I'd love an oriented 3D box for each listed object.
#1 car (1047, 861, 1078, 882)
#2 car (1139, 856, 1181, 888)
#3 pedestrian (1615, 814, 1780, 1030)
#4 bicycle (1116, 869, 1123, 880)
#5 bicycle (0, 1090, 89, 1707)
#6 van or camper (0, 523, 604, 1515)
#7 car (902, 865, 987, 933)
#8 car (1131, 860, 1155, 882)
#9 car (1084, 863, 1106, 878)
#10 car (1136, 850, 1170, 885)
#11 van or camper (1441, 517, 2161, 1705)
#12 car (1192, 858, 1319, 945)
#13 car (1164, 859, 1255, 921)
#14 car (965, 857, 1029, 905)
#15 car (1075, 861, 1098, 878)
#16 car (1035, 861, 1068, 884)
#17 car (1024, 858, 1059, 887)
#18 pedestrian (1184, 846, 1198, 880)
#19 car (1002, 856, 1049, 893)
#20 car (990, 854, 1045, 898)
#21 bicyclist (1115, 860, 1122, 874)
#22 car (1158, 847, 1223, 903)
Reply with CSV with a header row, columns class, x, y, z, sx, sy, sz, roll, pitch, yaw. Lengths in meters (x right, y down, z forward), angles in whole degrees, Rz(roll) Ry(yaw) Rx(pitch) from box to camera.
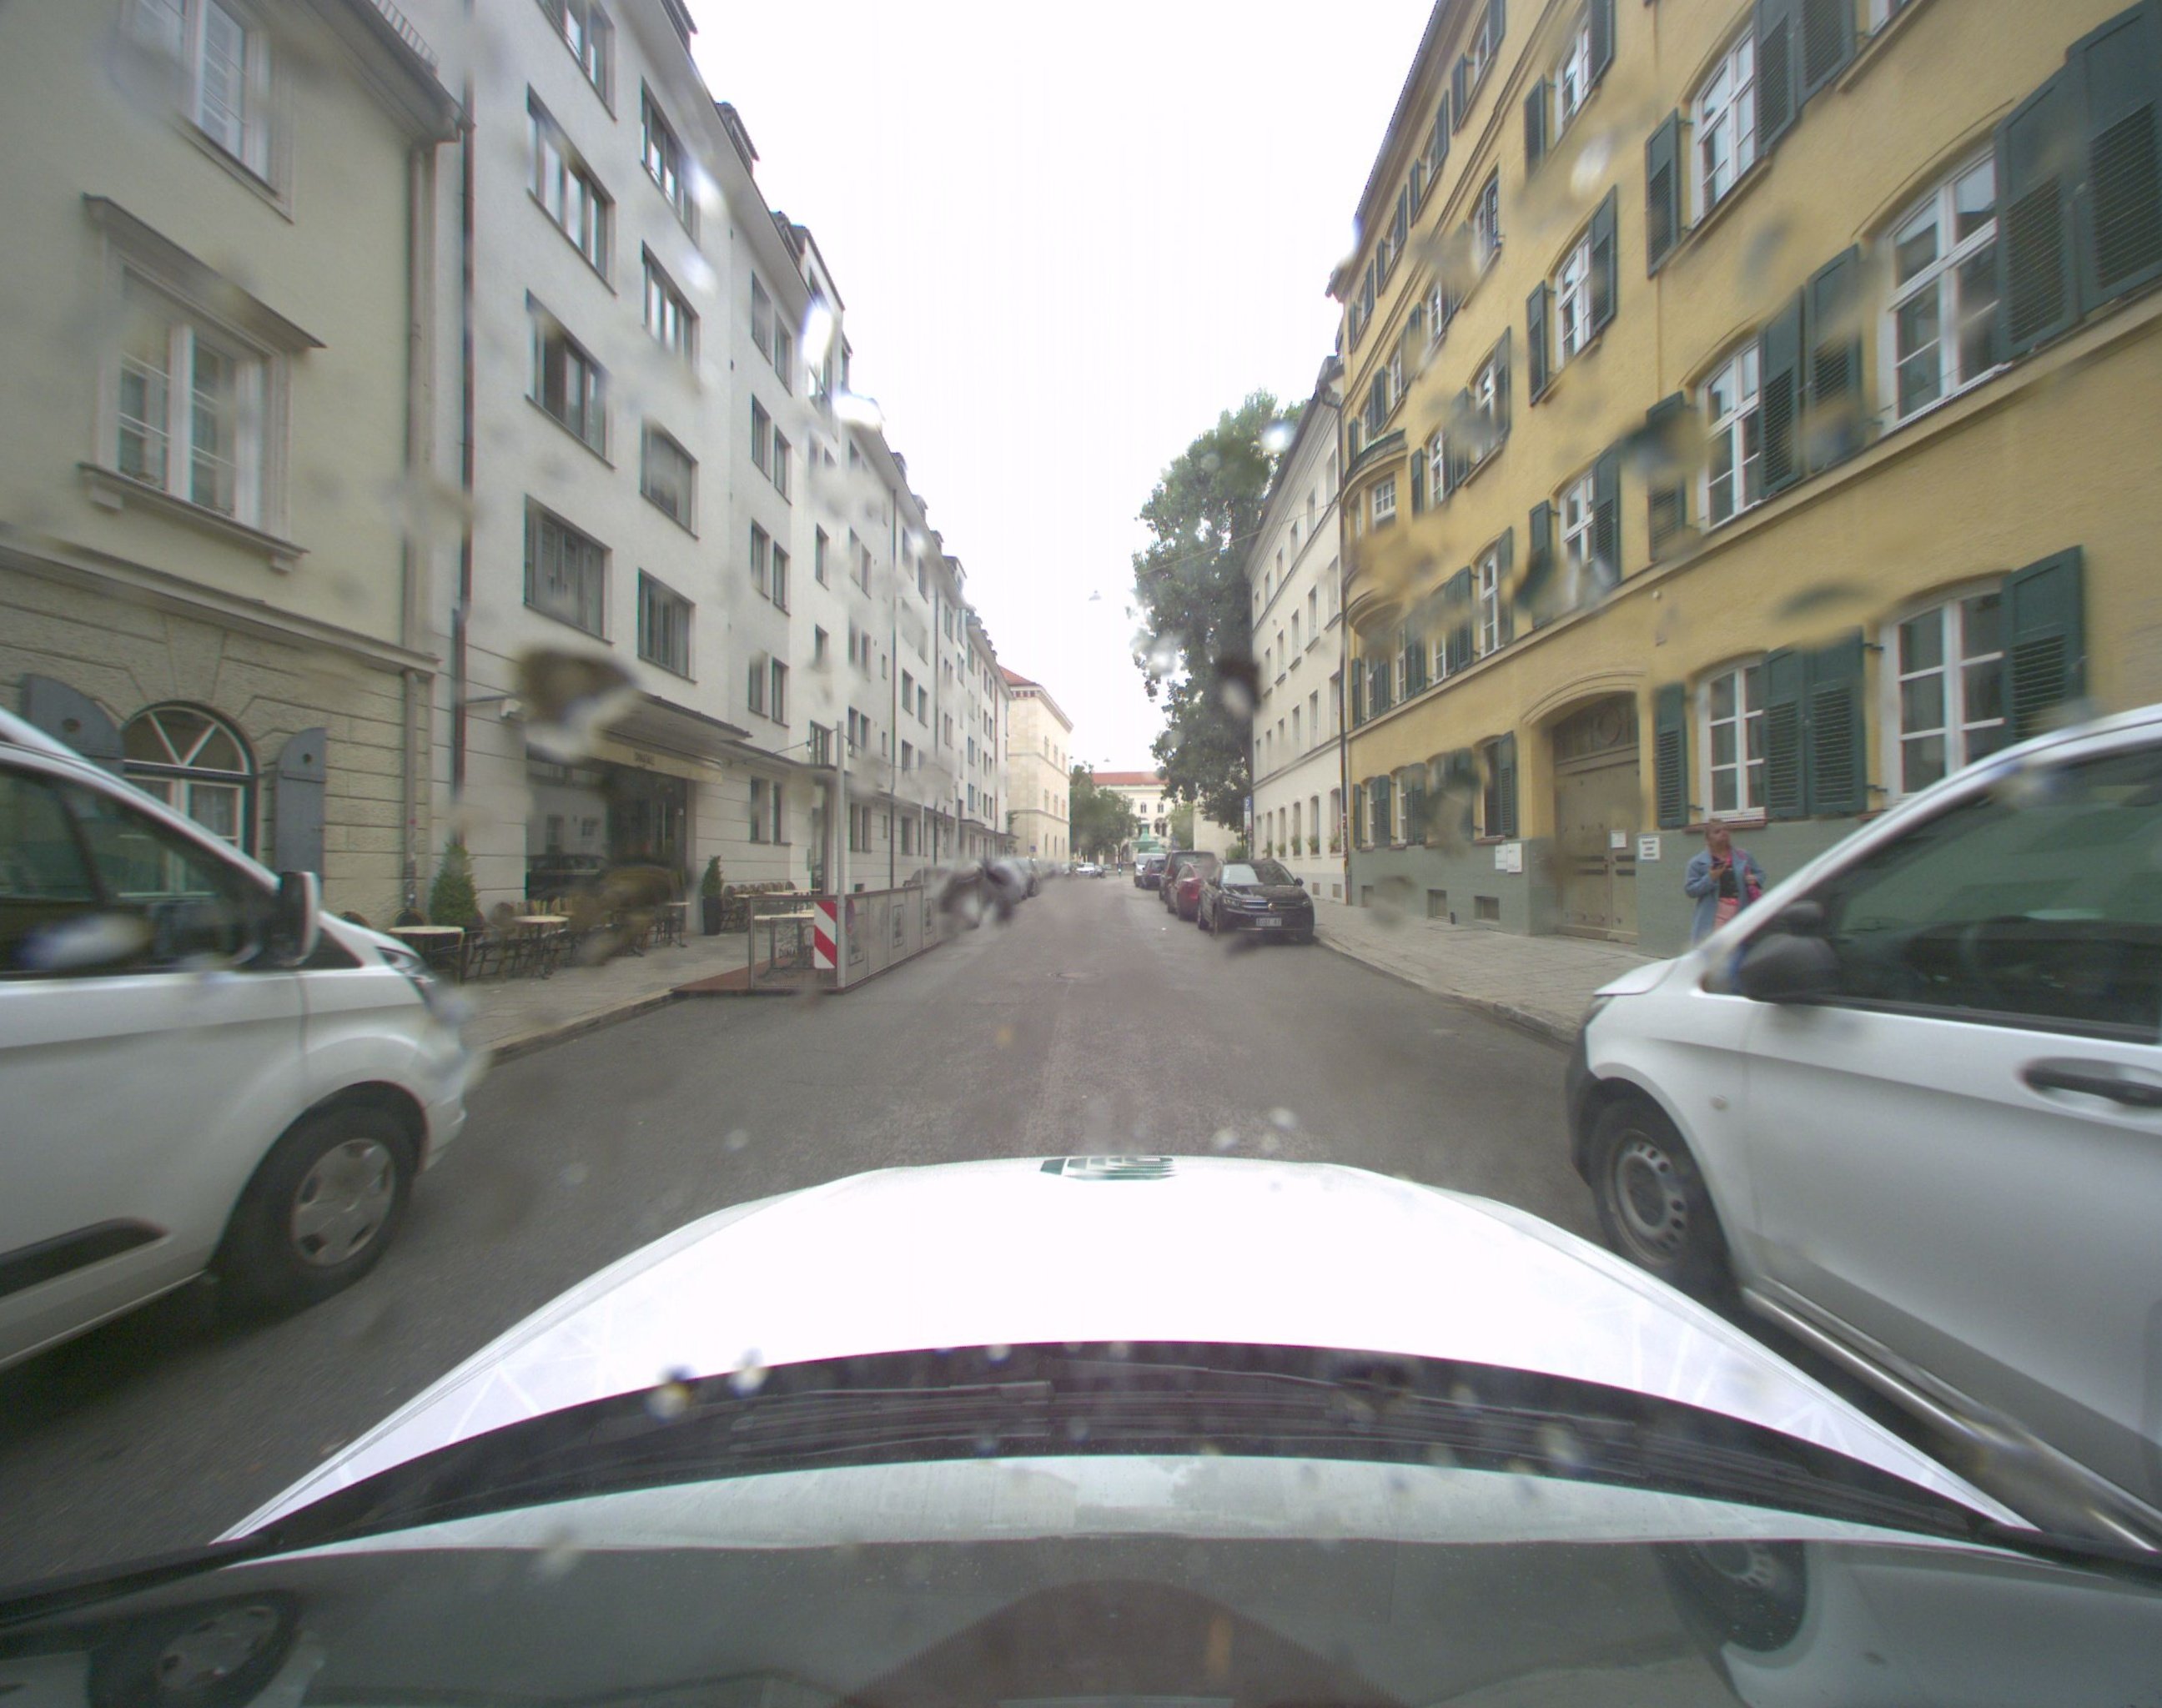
class,x,y,z,sx,sy,sz,roll,pitch,yaw
car,-1.365,1.316,62.489,1.741,1.453,4.023,-2,0,7
car,4.037,0.918,42.326,1.802,1.600,4.214,0,-1,0
pedestrian,5.086,0.530,6.780,0.595,1.639,0.896,-4,0,-1
bicycle,4.106,2.174,87.188,0.646,1.197,1.952,-1,-1,4
bicycle,-1.888,0.933,0.234,0.730,1.151,1.999,0,0,1
van or camper,-3.537,0.411,1.402,1.986,2.311,5.480,-3,0,1
car,-3.173,0.989,19.576,1.636,1.354,4.052,-2,0,-5
car,4.725,1.274,61.836,1.739,1.594,3.961,0,-1,5
car,1.469,1.697,84.050,1.689,1.393,4.220,-2,-2,7
car,4.227,0.795,48.246,1.874,1.924,4.879,-1,-1,4
van or camper,2.821,0.428,1.573,1.987,2.014,5.233,-1,0,1
car,3.256,0.822,15.951,1.739,1.464,4.002,-1,0,2
car,3.241,0.867,21.360,1.707,1.424,4.457,-1,-1,0
car,-2.961,0.916,29.573,1.767,1.539,4.160,-2,0,1
car,0.576,1.519,77.707,1.769,1.535,4.218,-2,-2,6
car,-2.048,1.303,57.750,1.742,1.453,4.021,-2,0,5
car,-2.481,1.146,52.328,1.865,1.658,4.081,-2,0,2
pedestrian,7.102,0.560,52.440,0.790,2.197,0.814,0,-1,1
car,-2.706,0.978,40.797,1.865,1.658,4.591,-2,0,1
car,-2.674,0.901,35.300,1.865,1.688,4.521,-2,0,1
bicyclist,4.055,1.405,87.297,0.654,1.551,0.888,-1,-1,4
car,3.726,0.708,28.277,1.839,1.776,4.203,1,-1,2
